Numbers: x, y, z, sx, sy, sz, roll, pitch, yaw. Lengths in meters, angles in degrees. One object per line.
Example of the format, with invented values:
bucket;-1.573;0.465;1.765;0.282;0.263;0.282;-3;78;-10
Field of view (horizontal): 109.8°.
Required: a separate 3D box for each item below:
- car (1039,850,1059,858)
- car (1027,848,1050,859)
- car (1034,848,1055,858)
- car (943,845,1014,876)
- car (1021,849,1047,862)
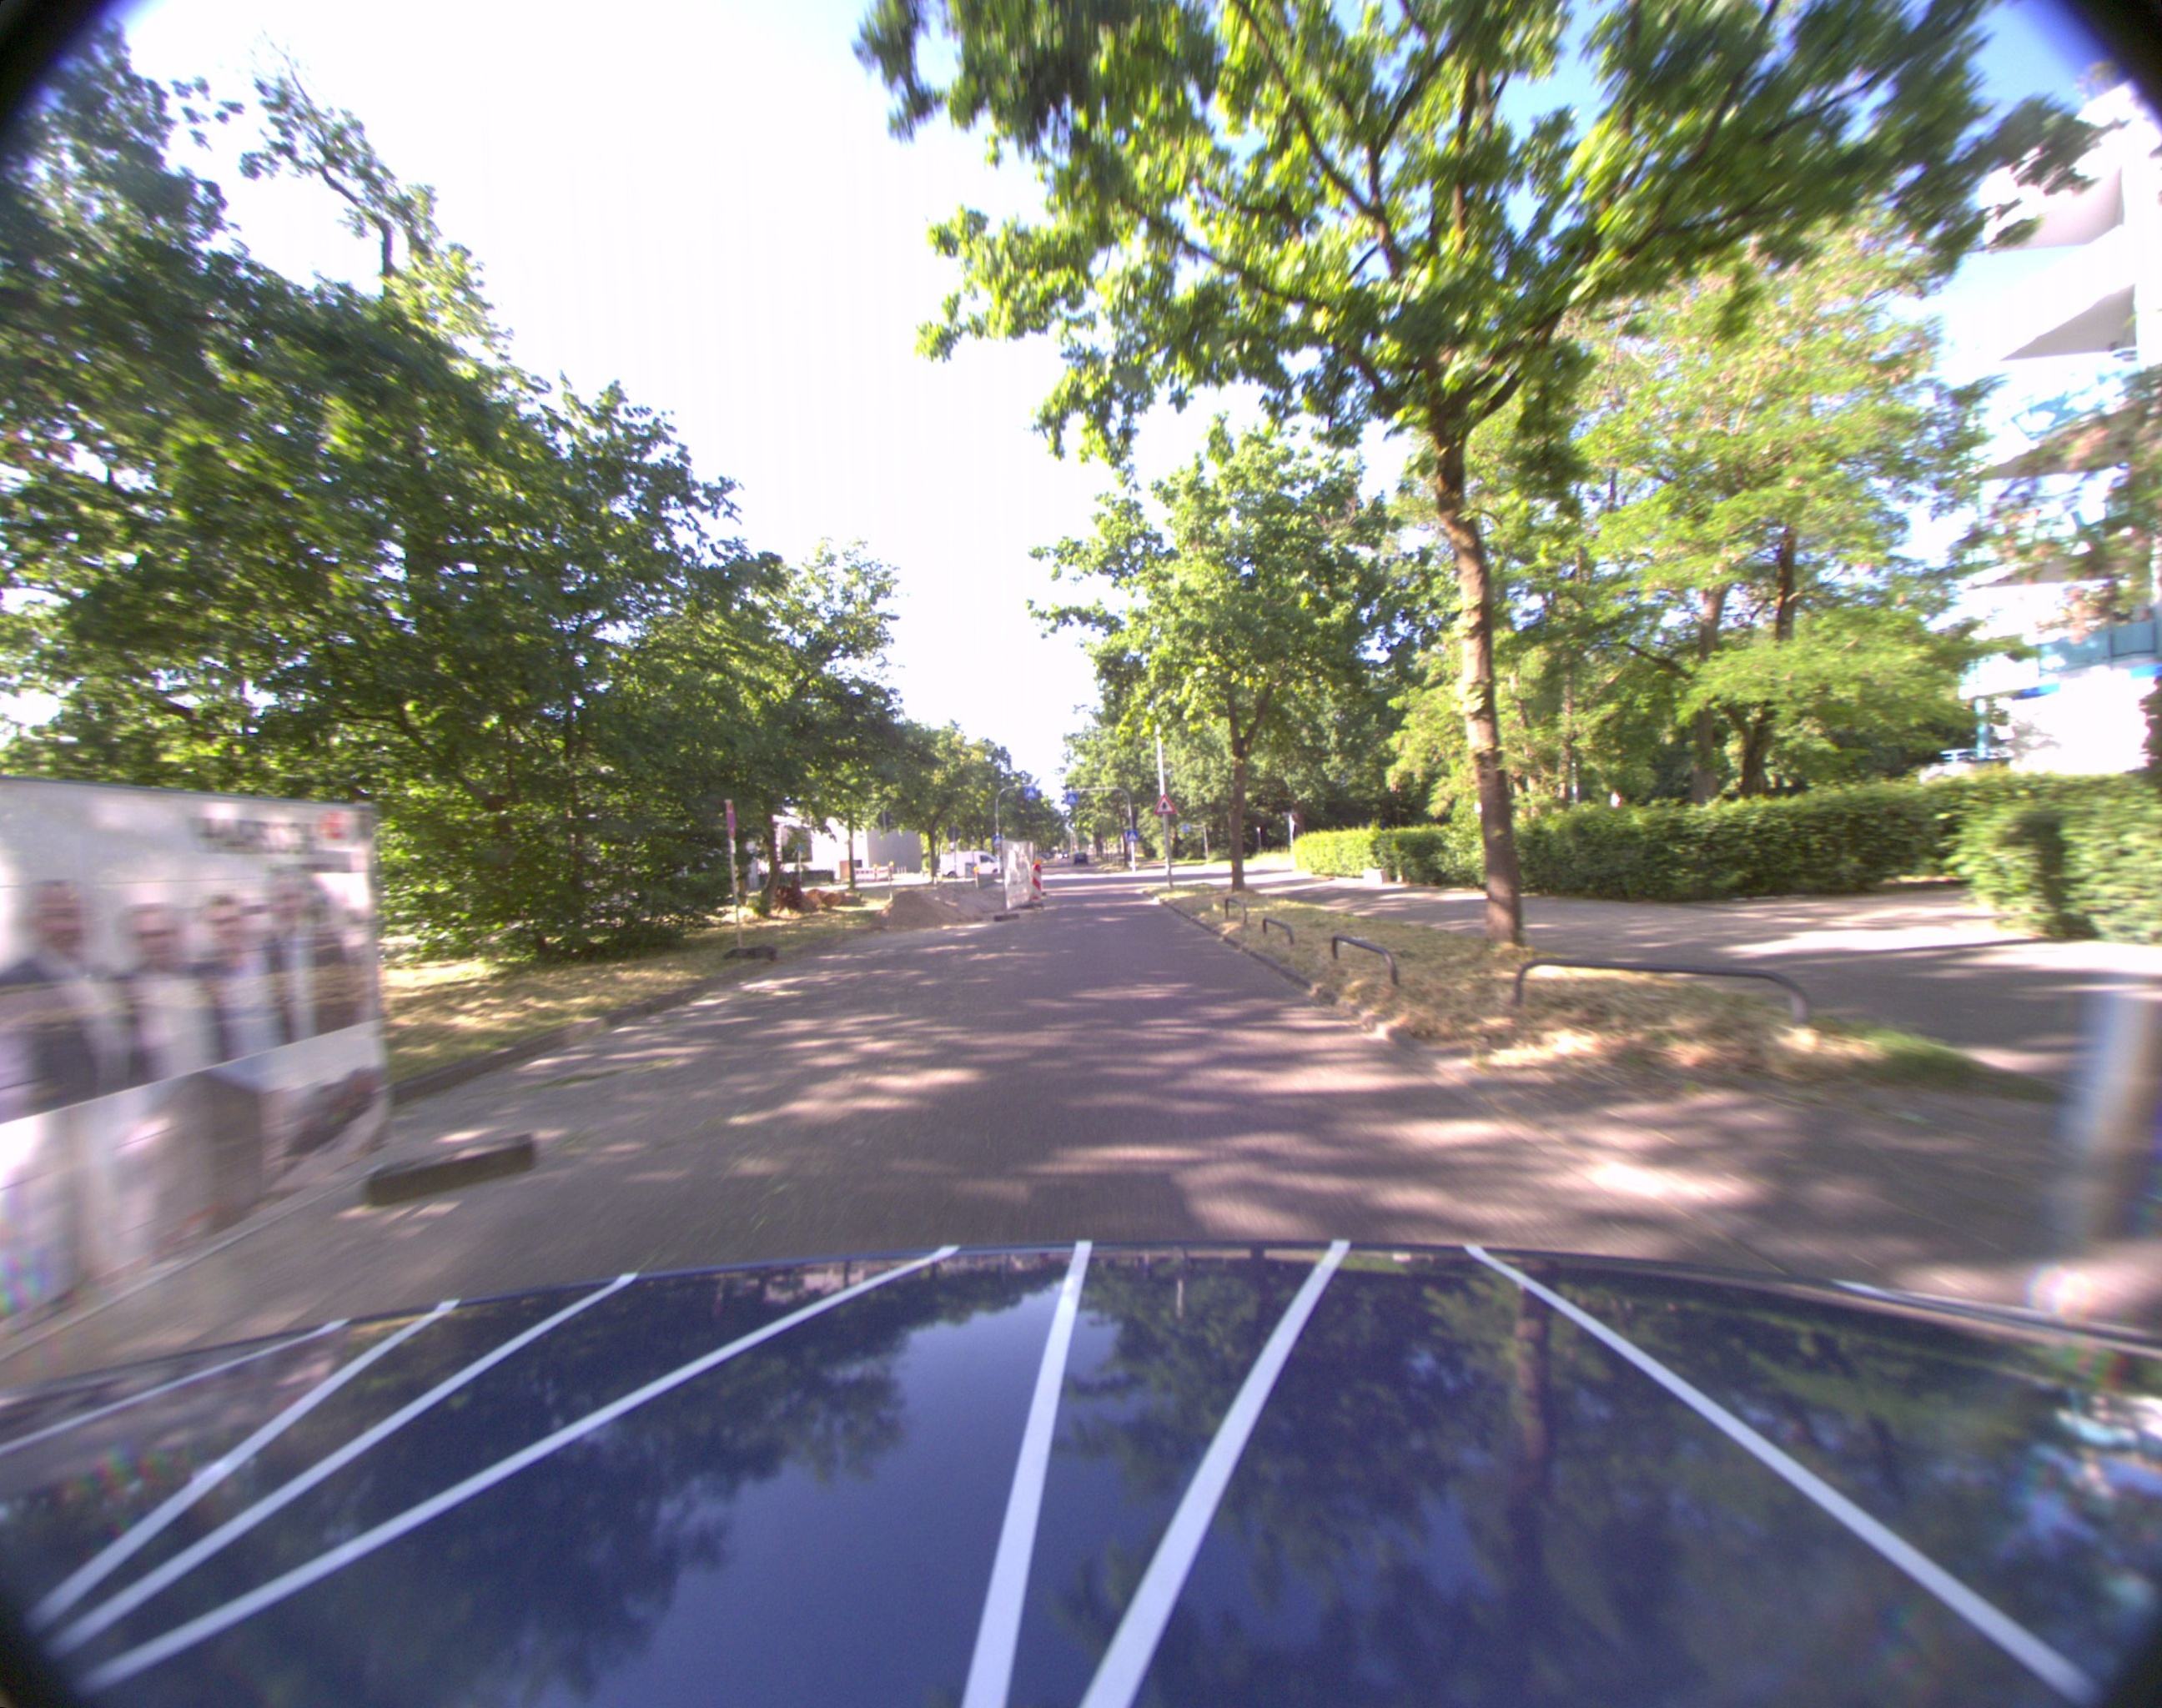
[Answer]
car;-6.981;-0.061;167.083;4.151;1.401;1.800;-4;1;1
car;-8.098;-0.154;145.712;4.151;1.838;1.949;-4;1;1
car;-7.803;-0.292;162.046;4.151;1.838;1.949;-4;1;1
car;-7.748;0.493;57.910;5.046;2.069;1.890;-3;1;0
car;-7.639;0.263;124.765;3.997;1.838;1.863;-4;1;1
